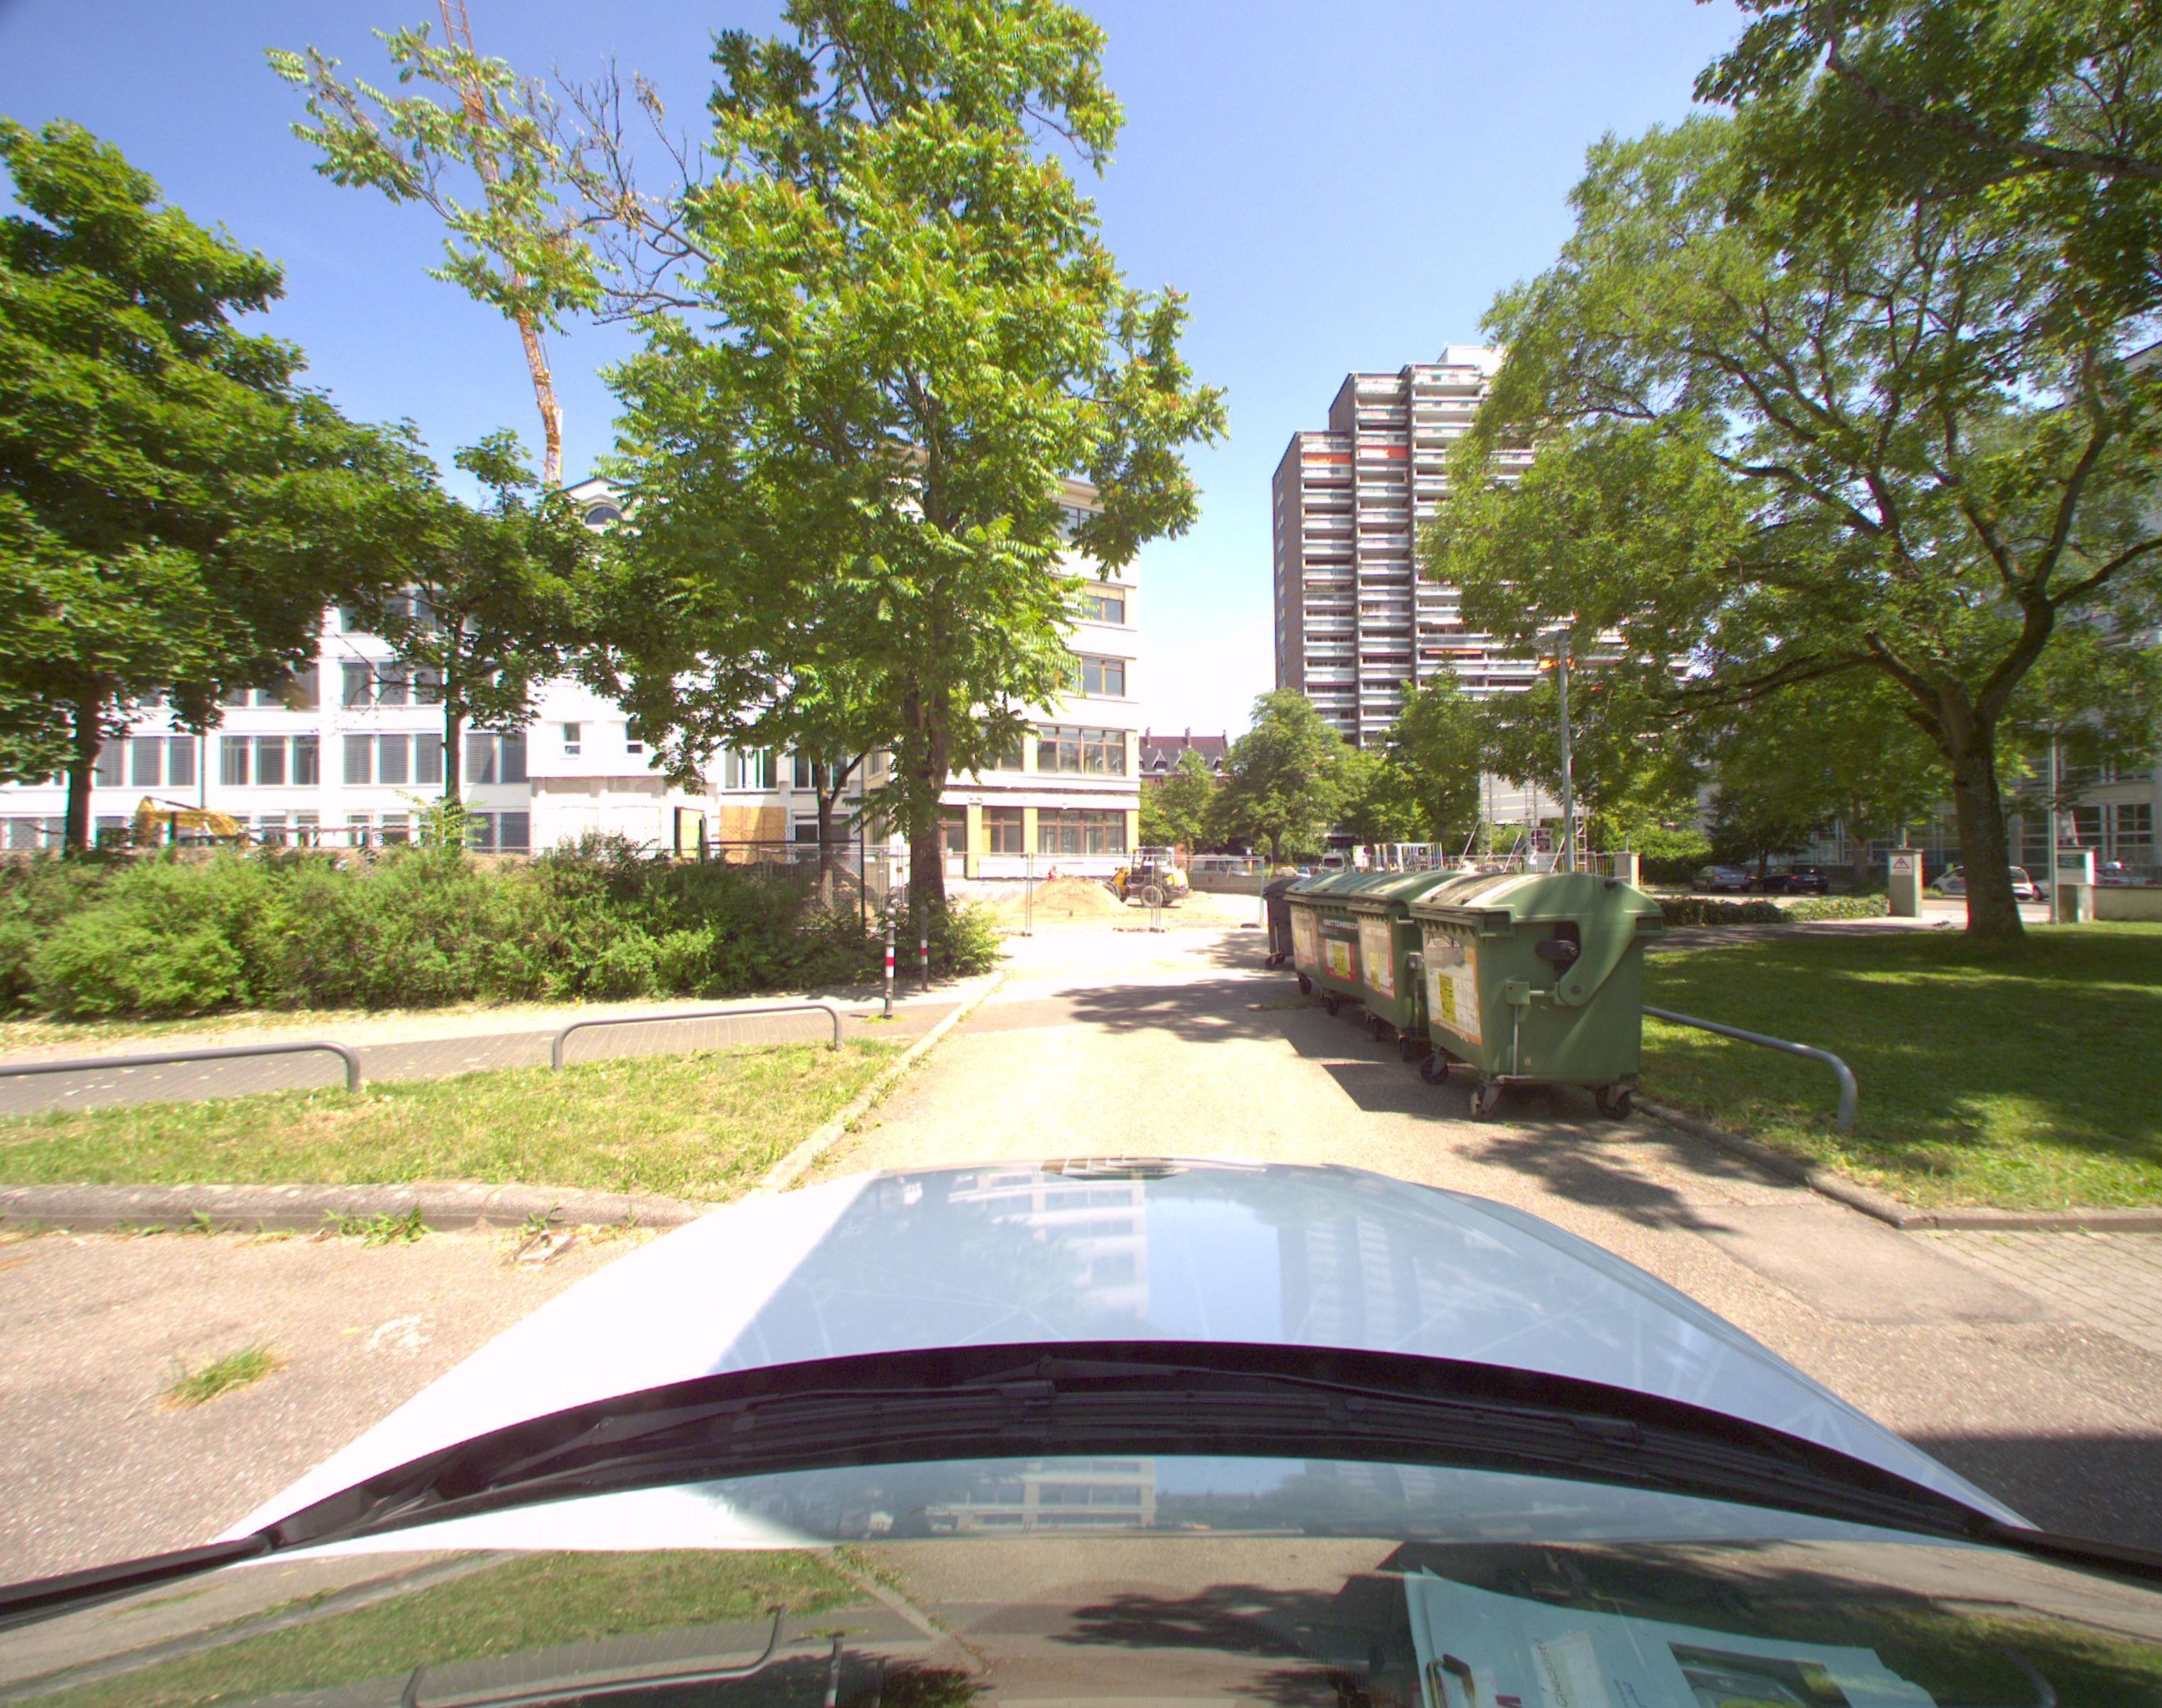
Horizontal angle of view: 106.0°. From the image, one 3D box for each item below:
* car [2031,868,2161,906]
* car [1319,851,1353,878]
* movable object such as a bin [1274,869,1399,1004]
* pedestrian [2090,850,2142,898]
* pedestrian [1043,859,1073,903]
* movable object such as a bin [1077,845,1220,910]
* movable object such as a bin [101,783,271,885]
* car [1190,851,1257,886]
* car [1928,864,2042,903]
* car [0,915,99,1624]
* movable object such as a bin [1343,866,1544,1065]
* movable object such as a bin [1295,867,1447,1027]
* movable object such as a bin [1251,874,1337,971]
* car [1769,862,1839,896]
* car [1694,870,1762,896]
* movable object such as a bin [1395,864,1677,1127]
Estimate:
[{"bbox_3d":[40.569,1.284,32.612,1.650,1.415,3.730,-1,-1,21],"label":"car"},{"bbox_3d":[21.906,0.911,69.853,2.165,2.258,4.895,-1,-1,24],"label":"car"},{"bbox_3d":[2.952,0.916,9.583,1.071,1.458,1.378,-1,-1,3],"label":"movable object such as a bin"},{"bbox_3d":[44.395,0.846,34.947,0.986,2.014,0.880,-1,-2,15],"label":"pedestrian"},{"bbox_3d":[-0.992,1.159,35.040,0.974,1.847,0.922,-1,-2,28],"label":"pedestrian"},{"bbox_3d":[2.802,0.924,33.773,5.352,2.464,2.382,1,-1,28],"label":"movable object such as a bin"},{"bbox_3d":[-40.123,-0.838,36.583,5.677,4.373,2.003,-1,-2,5],"label":"movable object such as a bin"},{"bbox_3d":[10.109,1.034,58.195,2.004,2.416,5.197,0,-2,-27],"label":"car"},{"bbox_3d":[39.410,1.275,35.632,1.651,1.590,3.709,-1,-1,17],"label":"car"},{"bbox_3d":[-4.399,0.861,0.869,4.409,1.380,2.026,-1,1,4],"label":"car"},{"bbox_3d":[2.885,0.838,6.690,1.071,1.458,1.378,-1,-1,3],"label":"movable object such as a bin"},{"bbox_3d":[2.837,0.871,8.164,1.071,1.458,1.378,-1,-1,3],"label":"movable object such as a bin"},{"bbox_3d":[3.383,1.062,13.079,1.071,1.458,1.378,-1,-1,3],"label":"movable object such as a bin"},{"bbox_3d":[36.534,1.236,41.243,1.992,1.630,3.955,-1,-2,32],"label":"car"},{"bbox_3d":[34.793,1.535,43.884,1.897,1.310,3.952,-1,-1,23],"label":"car"},{"bbox_3d":[2.806,0.807,5.248,1.071,1.458,1.378,-1,-1,3],"label":"movable object such as a bin"}]
